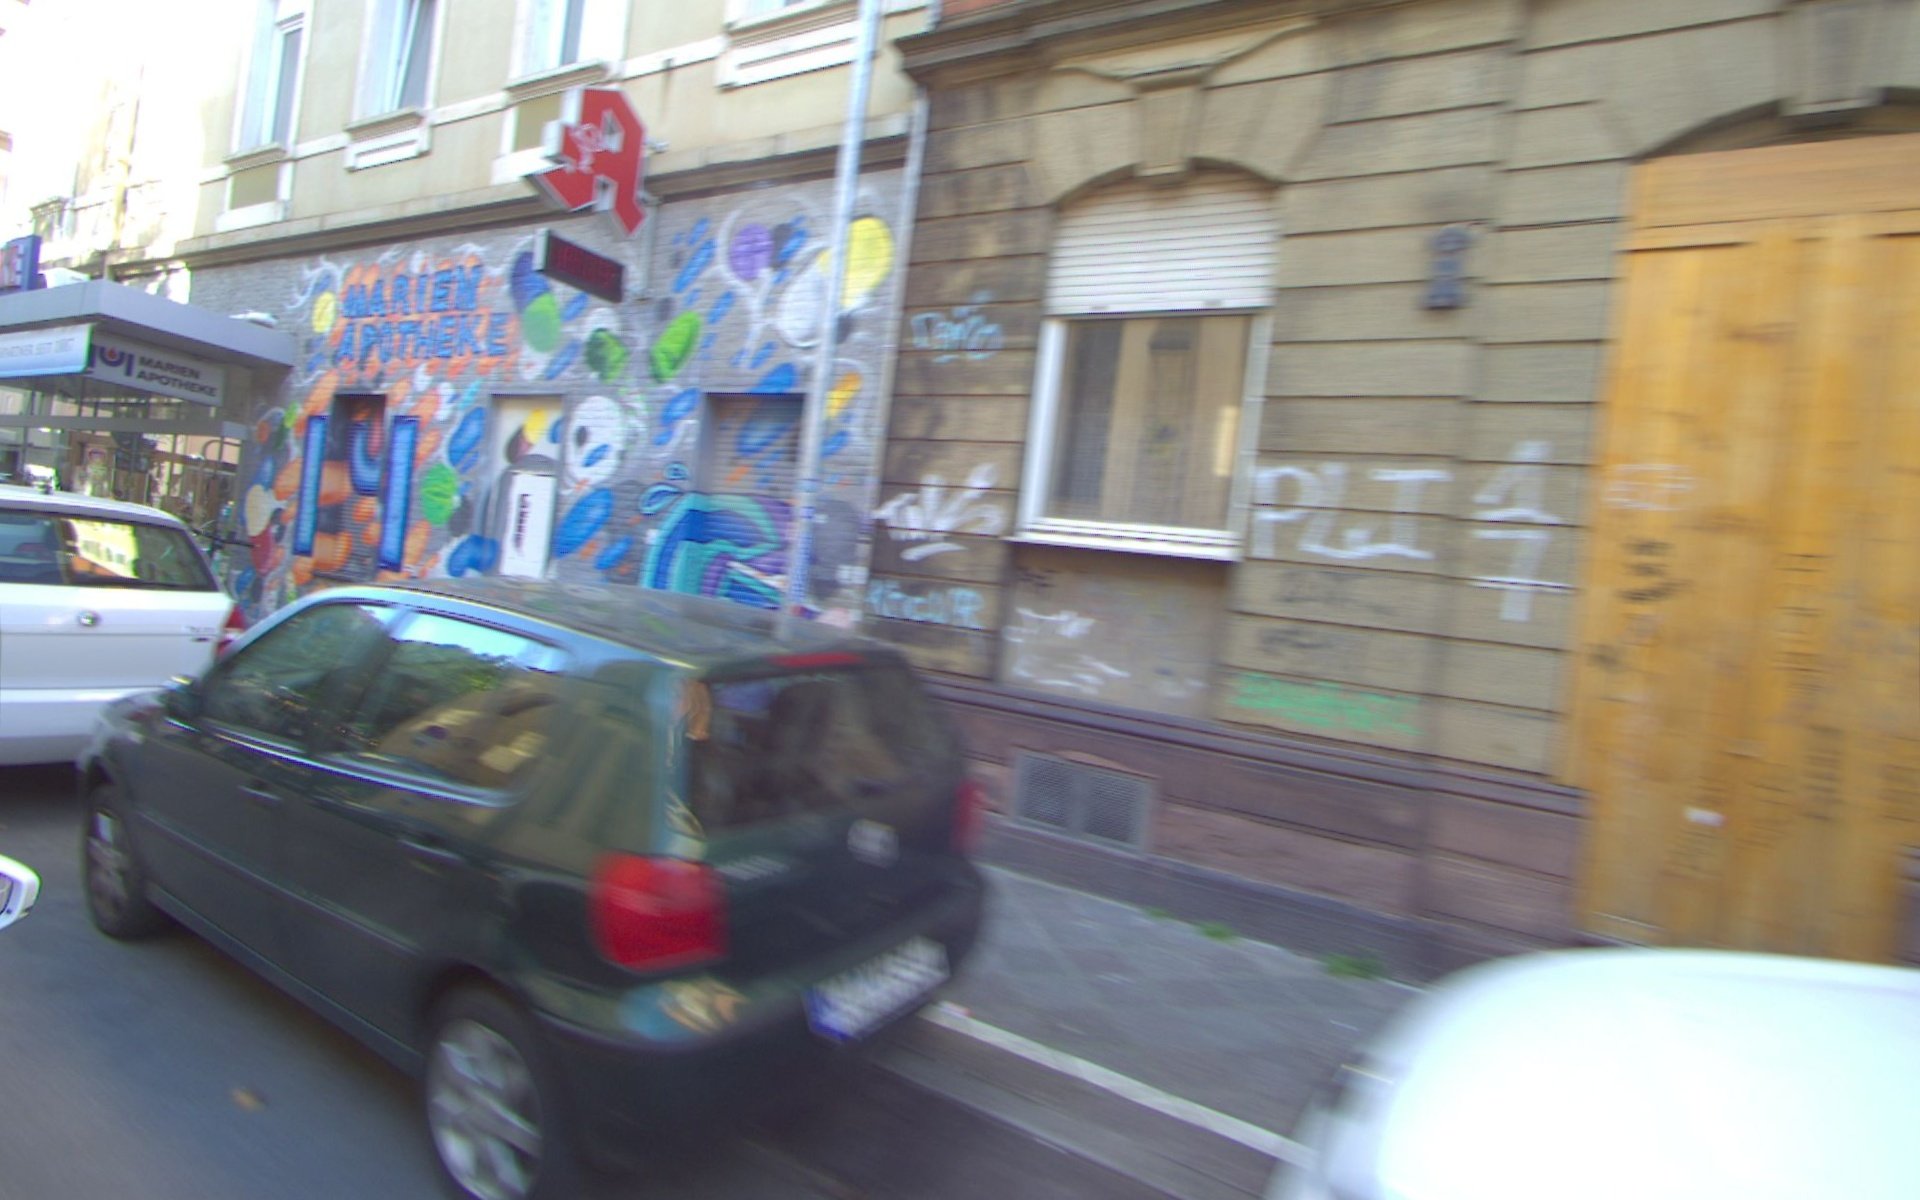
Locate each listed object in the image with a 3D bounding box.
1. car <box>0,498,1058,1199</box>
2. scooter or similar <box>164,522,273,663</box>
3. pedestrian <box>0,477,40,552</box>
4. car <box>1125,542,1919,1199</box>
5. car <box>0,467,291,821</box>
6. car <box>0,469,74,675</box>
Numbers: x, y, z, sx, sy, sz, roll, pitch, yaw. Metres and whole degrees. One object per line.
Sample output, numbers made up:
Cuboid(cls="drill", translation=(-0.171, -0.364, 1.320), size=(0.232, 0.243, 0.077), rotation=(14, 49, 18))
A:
Cuboid(cls="car", translation=(-1.795, 0.591, 3.603), size=(3.850, 1.504, 1.589), rotation=(6, -2, 34))
Cuboid(cls="scooter or similar", translation=(-7.405, -0.082, 10.039), size=(1.019, 1.294, 0.395), rotation=(6, -1, 31))
Cuboid(cls="pedestrian", translation=(-23.466, -2.115, 24.959), size=(0.467, 1.746, 0.692), rotation=(7, -1, 30))
Cuboid(cls="car", translation=(2.622, 1.056, 0.987), size=(4.488, 1.665, 1.997), rotation=(6, -2, 32))
Cuboid(cls="car", translation=(-5.765, 0.044, 5.725), size=(4.131, 1.544, 1.557), rotation=(6, -2, 32))
Cuboid(cls="car", translation=(-9.789, -0.460, 8.842), size=(3.995, 1.669, 1.704), rotation=(6, -2, 30))
